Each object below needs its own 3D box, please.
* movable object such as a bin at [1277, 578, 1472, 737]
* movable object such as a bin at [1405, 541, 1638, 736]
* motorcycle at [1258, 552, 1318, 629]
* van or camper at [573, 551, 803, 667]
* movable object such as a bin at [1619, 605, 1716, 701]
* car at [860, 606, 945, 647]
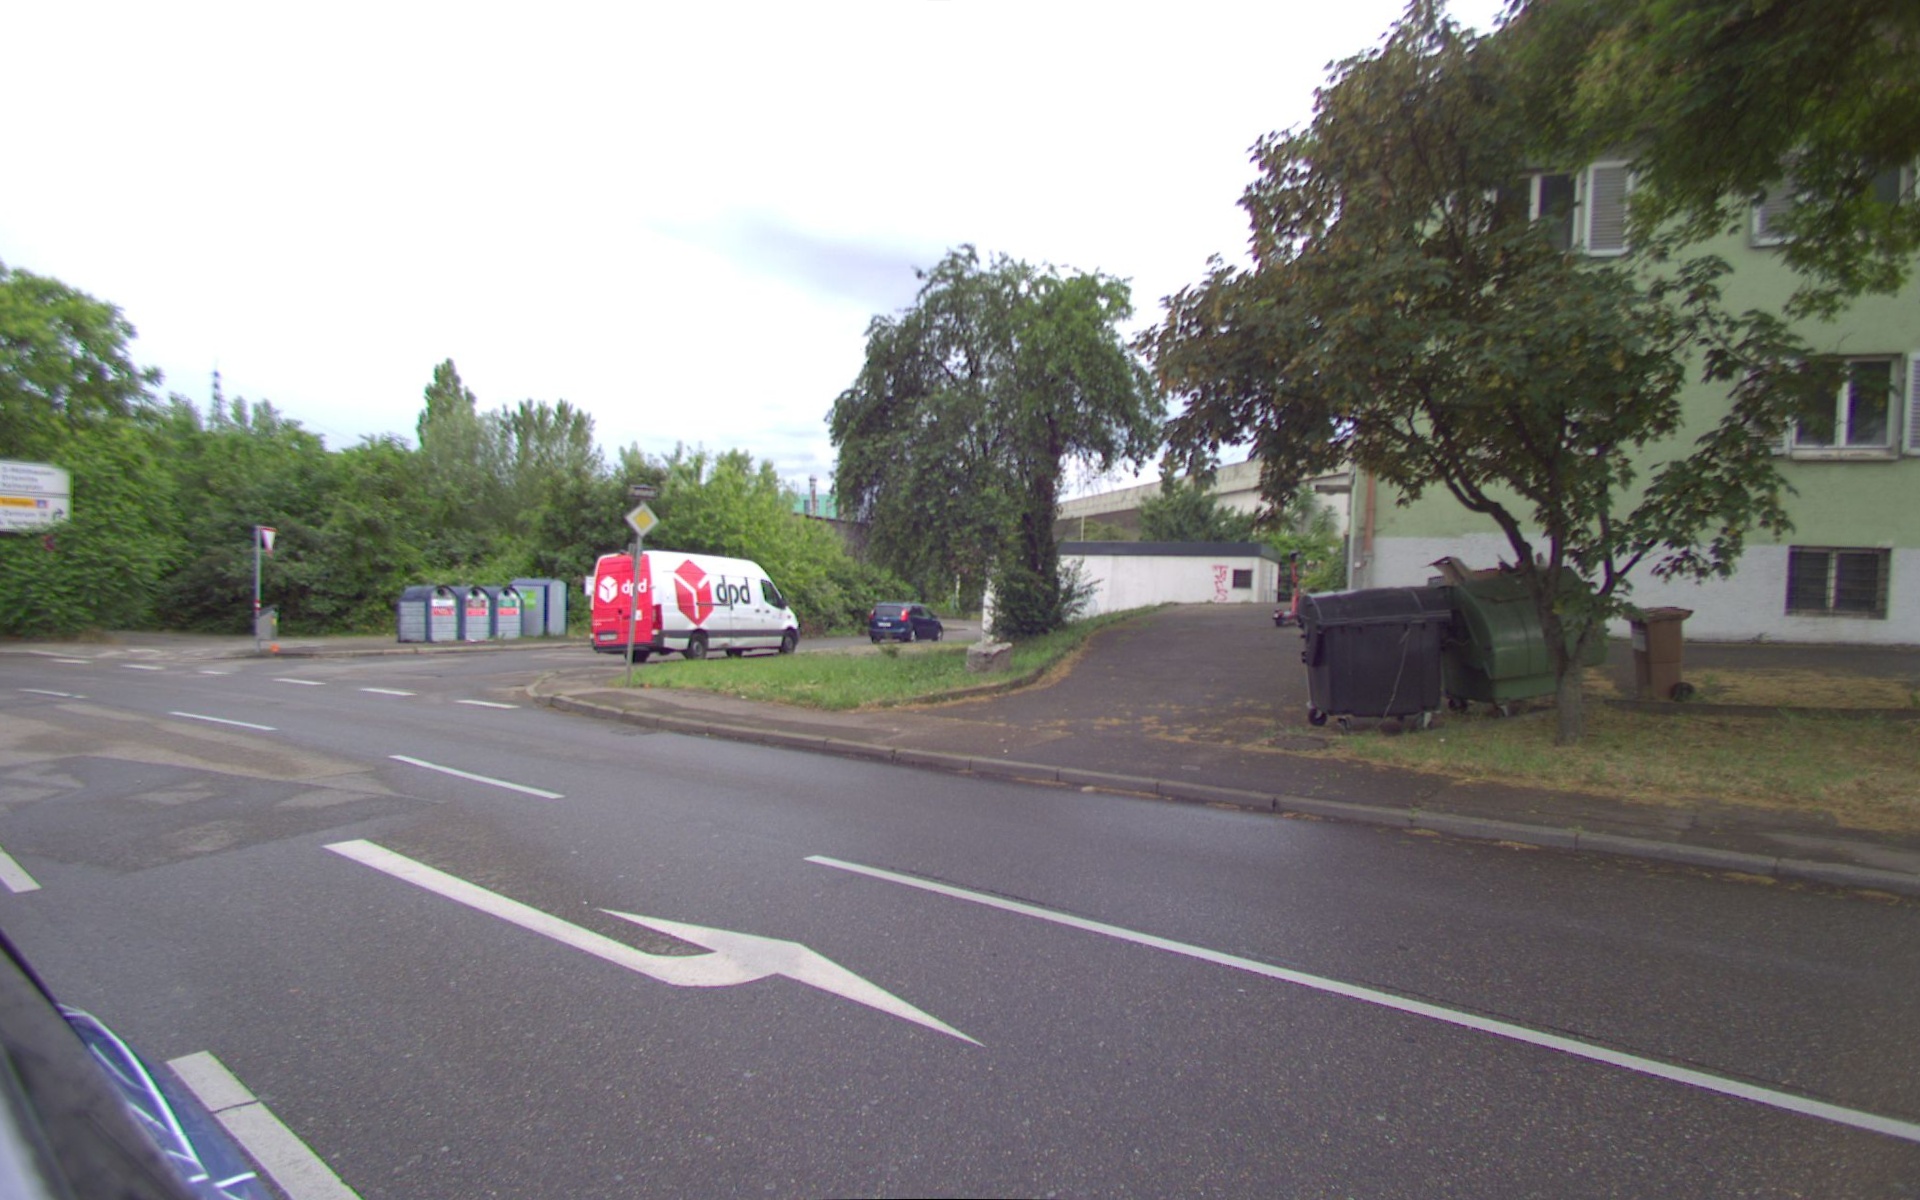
[{"bbox_3d":[4.198,0.554,10.430,1.359,1.452,1.471,-3,0,3],"label":"movable object such as a bin"},{"bbox_3d":[5.673,0.372,10.390,1.434,1.774,1.576,-3,0,3],"label":"movable object such as a bin"},{"bbox_3d":[5.560,-0.188,17.125,0.431,1.205,1.463,3,5,40],"label":"motorcycle"},{"bbox_3d":[-6.585,0.205,25.656,2.207,2.541,6.651,0,0,20],"label":"van or camper"},{"bbox_3d":[7.165,0.525,10.273,0.555,0.917,0.541,-3,0,3],"label":"movable object such as a bin"},{"bbox_3d":[-2.218,1.025,40.360,1.985,1.541,4.042,0,0,20],"label":"car"}]
